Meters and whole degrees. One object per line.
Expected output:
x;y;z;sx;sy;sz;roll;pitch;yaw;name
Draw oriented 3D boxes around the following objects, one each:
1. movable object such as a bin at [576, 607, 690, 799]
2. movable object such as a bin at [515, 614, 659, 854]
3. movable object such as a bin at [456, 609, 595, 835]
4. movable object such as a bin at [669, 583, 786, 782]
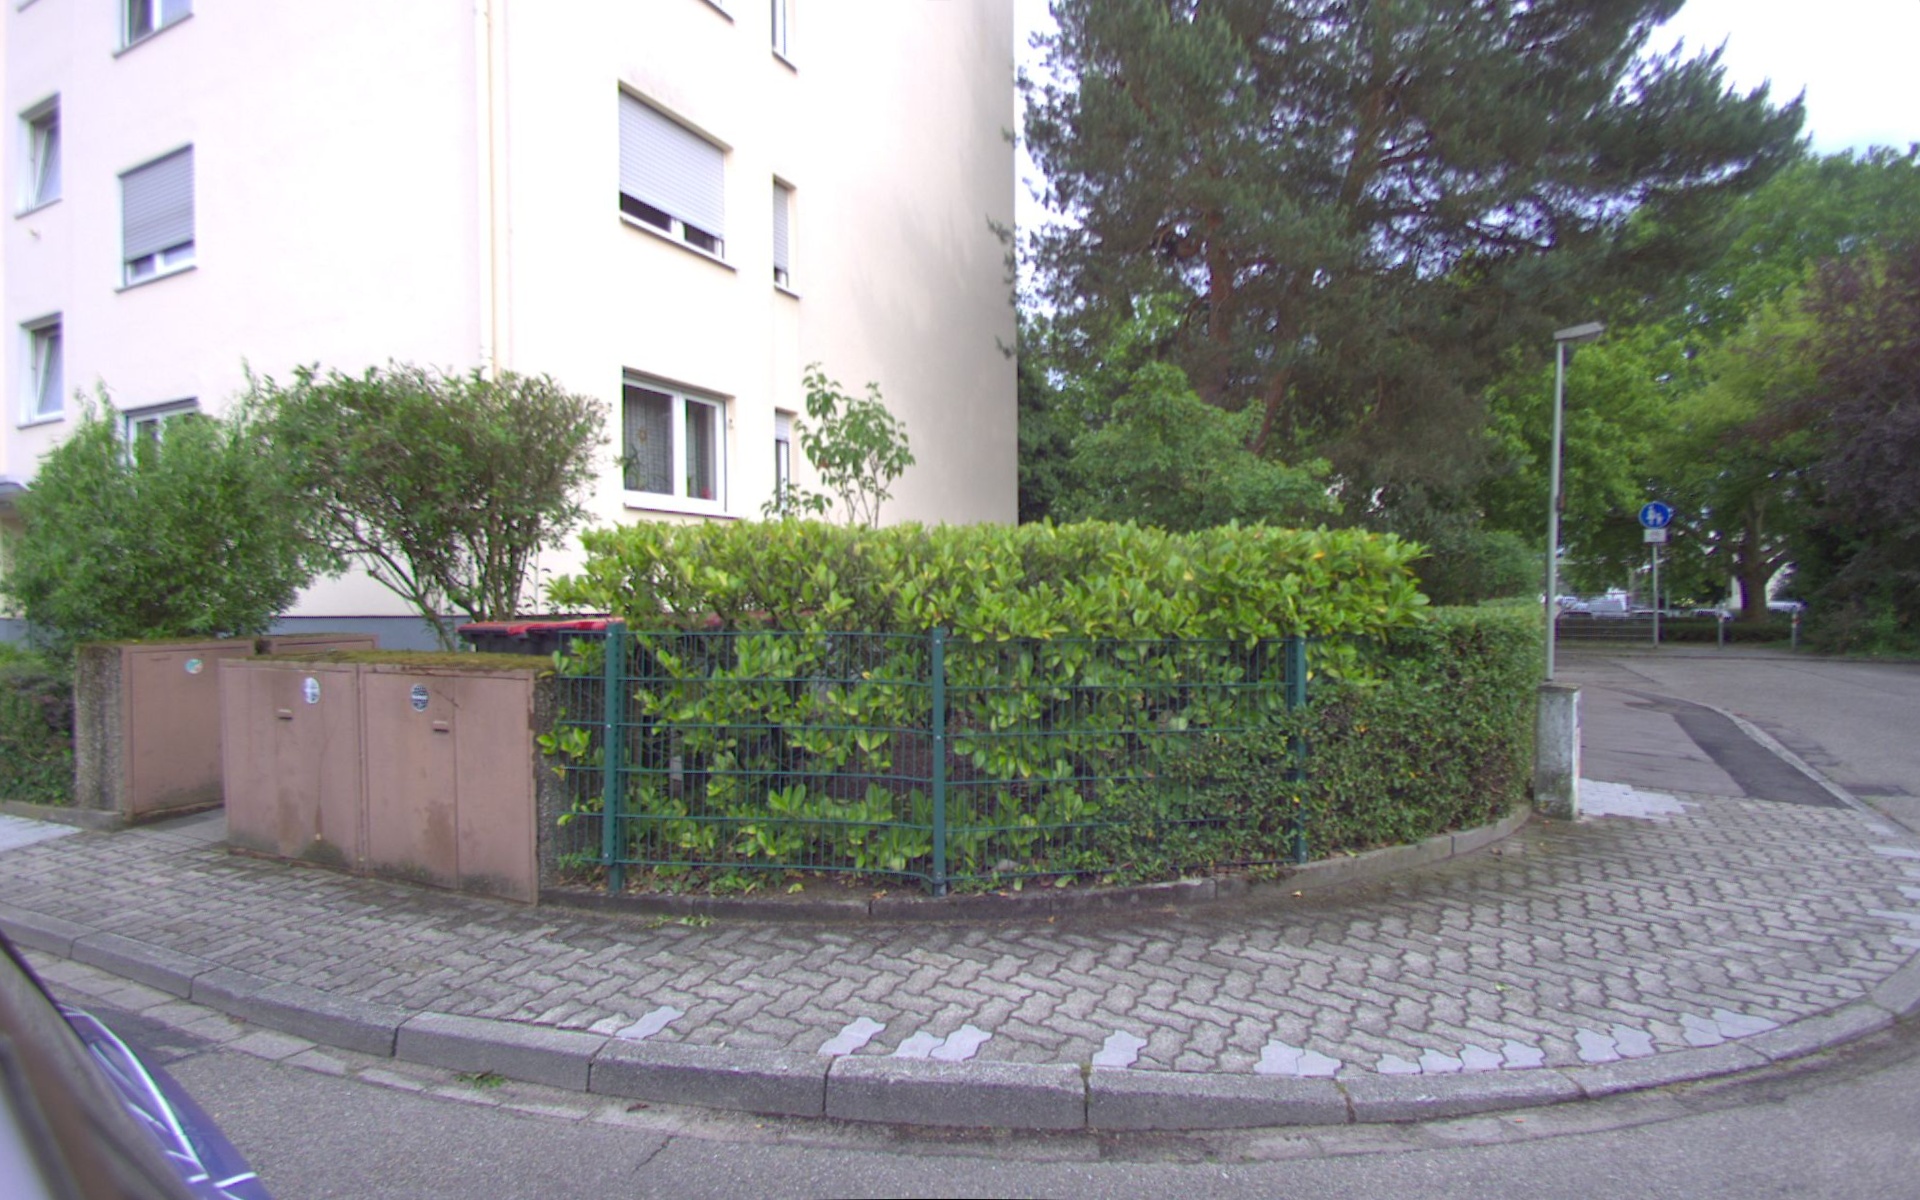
-2.147;0.651;6.663;0.512;1.197;0.502;-1;-1;26;movable object such as a bin
-1.979;0.675;5.394;0.512;1.197;0.502;-1;-1;26;movable object such as a bin
-2.441;0.652;5.706;0.512;1.197;0.502;-1;-1;26;movable object such as a bin
-1.451;0.496;6.340;0.512;1.174;0.502;-1;-1;26;movable object such as a bin
